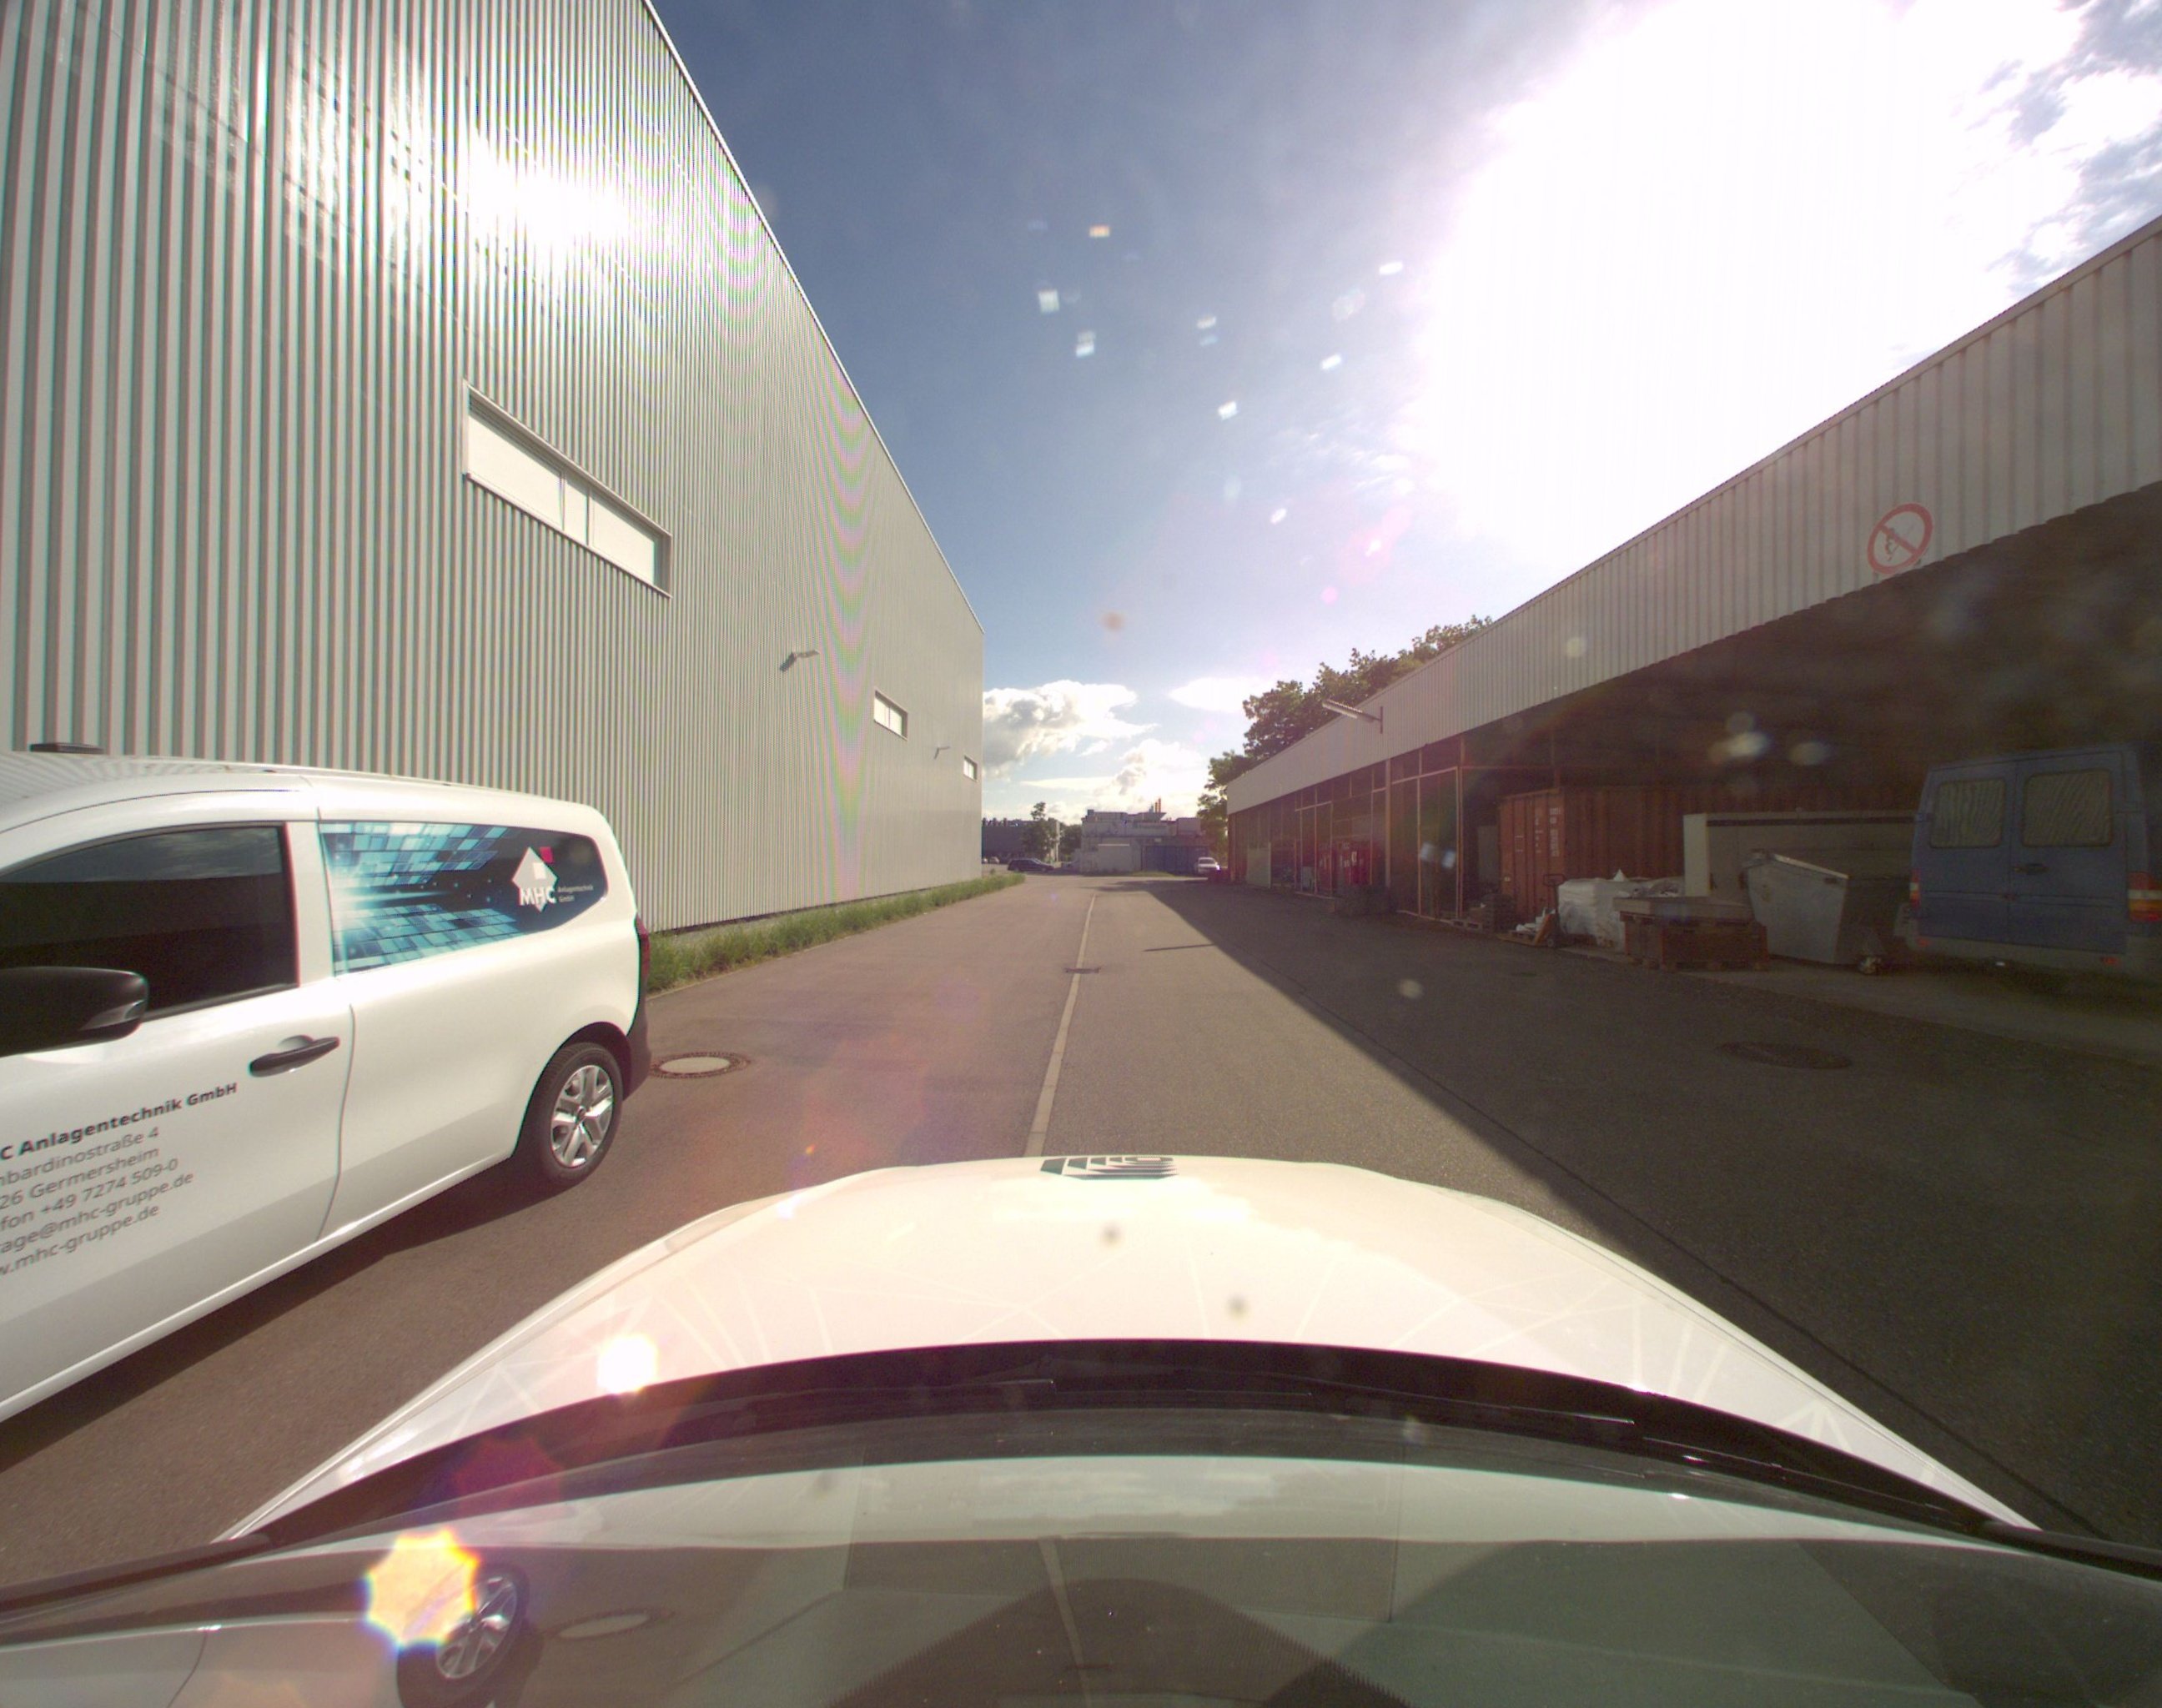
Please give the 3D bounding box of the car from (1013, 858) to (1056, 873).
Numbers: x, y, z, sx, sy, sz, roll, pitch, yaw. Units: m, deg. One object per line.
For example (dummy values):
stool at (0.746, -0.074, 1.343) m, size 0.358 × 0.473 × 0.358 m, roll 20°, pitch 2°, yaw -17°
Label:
car at (-5.014, 1.239, 88.033) m, size 4.432 × 1.531 × 1.824 m, roll -1°, pitch -1°, yaw 1°

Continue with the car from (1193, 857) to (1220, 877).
car at (11.007, 1.112, 71.658) m, size 1.971 × 1.602 × 4.381 m, roll -1°, pitch 1°, yaw 3°

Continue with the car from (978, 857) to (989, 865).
car at (-21.794, 1.639, 181.446) m, size 1.970 × 1.678 × 3.999 m, roll -1°, pitch -1°, yaw 0°

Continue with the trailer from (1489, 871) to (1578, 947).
trailer at (7.250, 0.848, 13.128) m, size 0.550 × 1.118 × 1.546 m, roll -1°, pitch -1°, yaw 0°

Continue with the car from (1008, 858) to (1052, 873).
car at (-5.256, 1.190, 84.390) m, size 4.432 × 1.531 × 1.824 m, roll -1°, pitch -1°, yaw 1°

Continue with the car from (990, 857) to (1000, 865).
car at (-19.199, 1.570, 181.833) m, size 1.959 × 1.712 × 4.028 m, roll -1°, pitch -1°, yaw 0°

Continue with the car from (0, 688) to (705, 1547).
car at (-3.140, 0.547, 2.373) m, size 1.777 × 1.816 × 4.602 m, roll 2°, pitch -1°, yaw 1°

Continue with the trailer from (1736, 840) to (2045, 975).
trailer at (9.739, 0.612, 9.978) m, size 2.028 × 1.466 × 1.741 m, roll -1°, pitch -1°, yaw 5°

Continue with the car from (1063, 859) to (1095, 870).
car at (-0.256, 1.500, 112.211) m, size 4.288 × 1.457 × 1.824 m, roll -1°, pitch -1°, yaw 1°

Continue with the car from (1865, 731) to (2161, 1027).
car at (10.780, 0.186, 7.352) m, size 5.314 × 2.281 × 2.152 m, roll 0°, pitch -1°, yaw 0°

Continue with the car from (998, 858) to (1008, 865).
car at (-17.185, 1.606, 179.964) m, size 1.852 × 1.494 × 4.028 m, roll -1°, pitch -1°, yaw 0°

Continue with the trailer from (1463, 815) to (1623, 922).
trailer at (10.089, 0.312, 18.035) m, size 1.914 × 2.143 × 2.803 m, roll -1°, pitch -1°, yaw -1°

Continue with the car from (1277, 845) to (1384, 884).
car at (12.563, 0.541, 41.167) m, size 4.764 × 1.916 × 1.995 m, roll 0°, pitch -1°, yaw -7°
